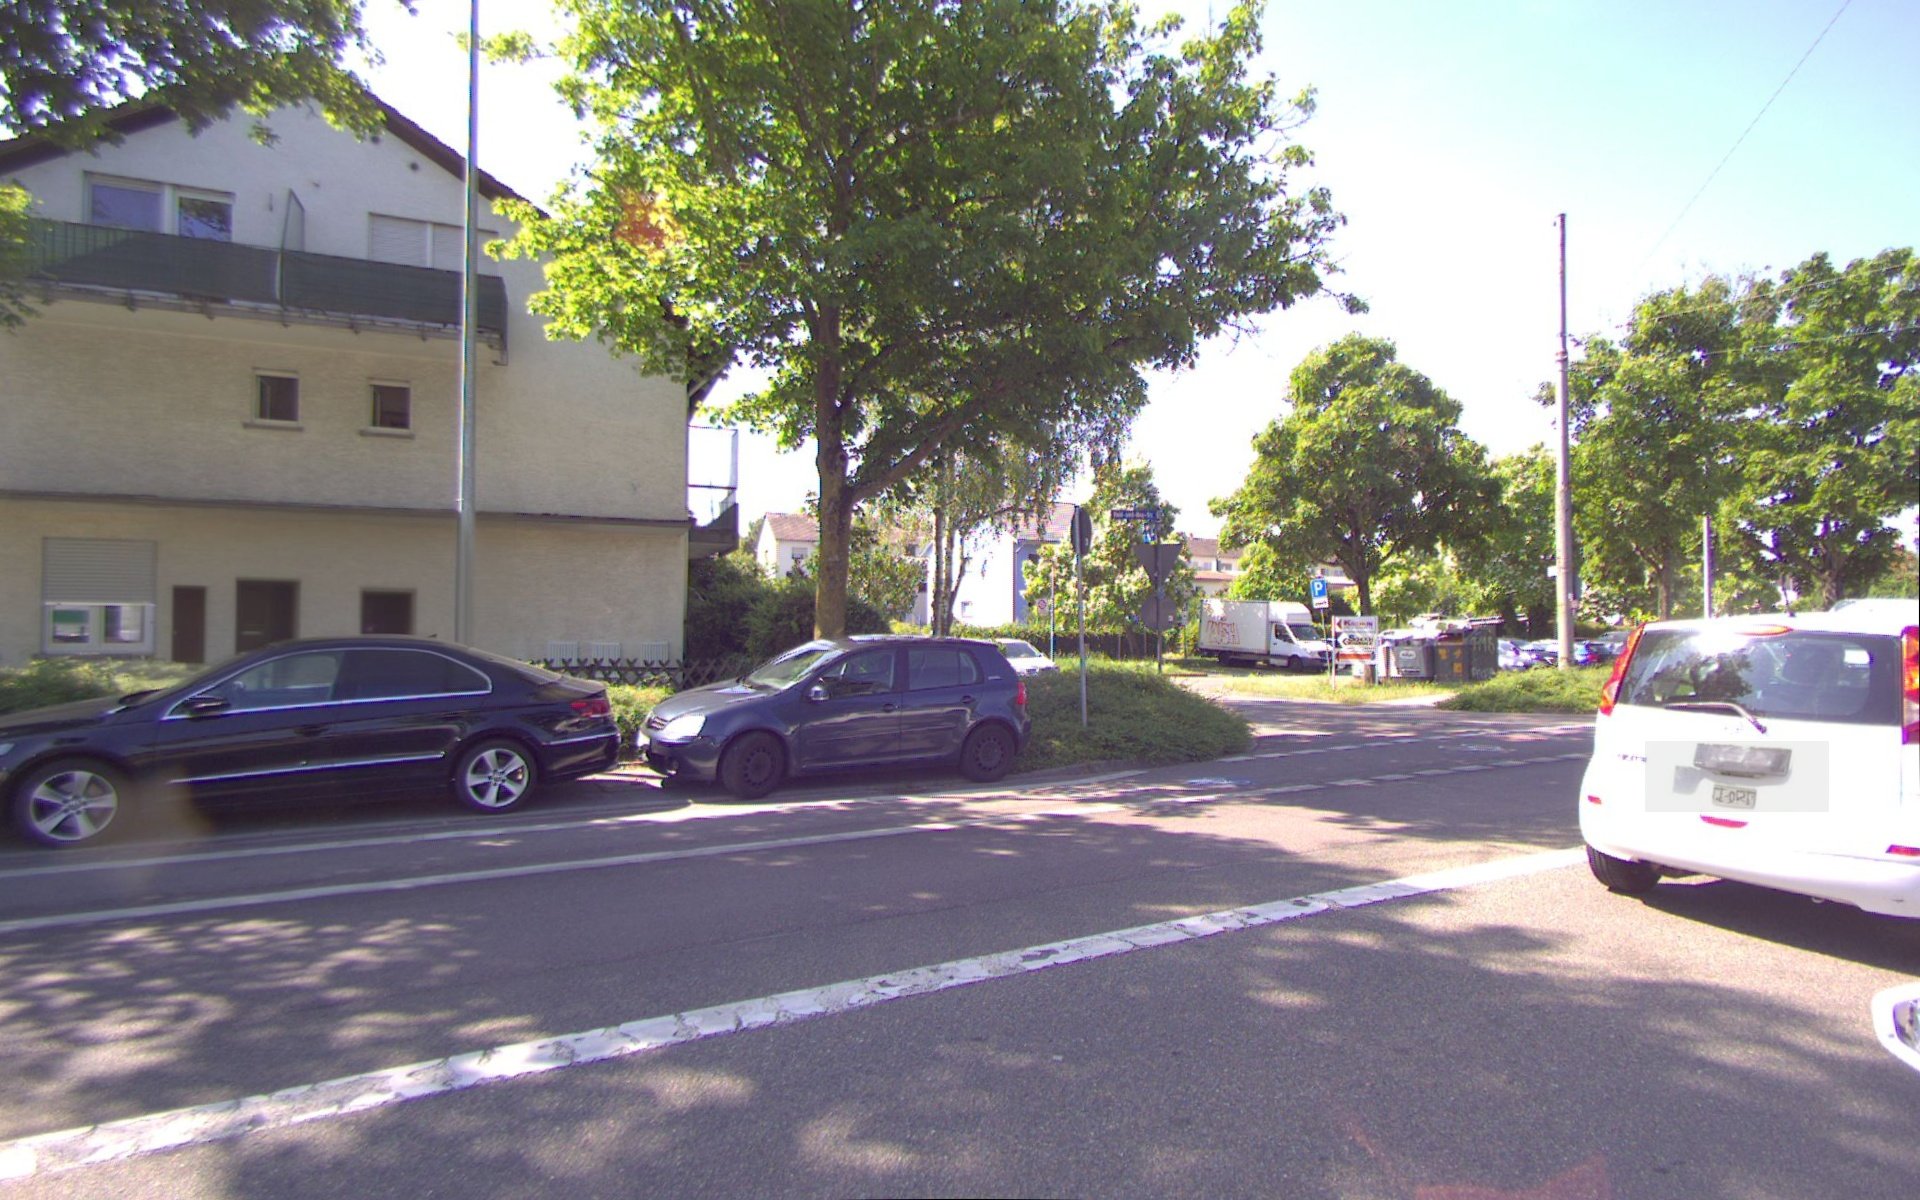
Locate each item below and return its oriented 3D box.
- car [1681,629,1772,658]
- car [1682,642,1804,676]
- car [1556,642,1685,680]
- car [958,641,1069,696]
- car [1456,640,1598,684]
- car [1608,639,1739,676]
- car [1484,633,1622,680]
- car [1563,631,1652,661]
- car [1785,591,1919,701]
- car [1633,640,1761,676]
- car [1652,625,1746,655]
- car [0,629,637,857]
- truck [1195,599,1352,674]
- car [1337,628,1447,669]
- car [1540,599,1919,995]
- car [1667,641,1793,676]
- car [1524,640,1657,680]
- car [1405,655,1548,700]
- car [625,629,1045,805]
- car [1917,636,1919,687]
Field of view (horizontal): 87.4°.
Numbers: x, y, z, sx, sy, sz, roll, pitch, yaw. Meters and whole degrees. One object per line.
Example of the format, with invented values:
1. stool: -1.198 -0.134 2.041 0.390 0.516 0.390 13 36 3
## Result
1. car: 54.467 3.042 71.484 2.043 1.811 4.762 2 0 -33
2. car: 34.946 2.633 44.917 1.712 1.434 3.964 2 -4 -33
3. car: 26.321 2.422 40.136 1.712 1.434 3.964 2 -4 -33
4. car: 1.427 1.912 28.420 1.704 1.434 3.983 1 -3 -20
5. car: 19.715 2.153 35.086 1.712 1.434 3.964 2 -4 -33
6. car: 28.853 2.336 40.740 1.712 1.434 3.964 2 -4 -33
7. car: 21.435 2.052 36.470 1.712 1.631 3.964 2 -4 -33
8. car: 44.559 3.113 69.243 2.043 1.811 4.762 2 0 -33
9. car: 23.810 1.138 25.735 5.745 2.550 2.114 1 0 -29
10. car: 30.765 2.429 42.039 1.712 1.434 3.964 2 -4 -33
11. car: 50.502 2.744 68.742 2.043 1.811 4.762 2 0 -33
12. car: -5.246 1.007 8.374 4.568 1.434 1.854 1 0 -31
13. truck: 14.437 1.604 46.821 2.646 3.151 6.967 1 0 -30
14. car: 21.701 2.411 50.657 2.043 1.811 4.762 2 0 -33
15. car: 5.435 0.832 5.713 4.491 1.568 1.655 1 -1 -29
16. car: 33.188 2.545 43.408 1.712 1.434 3.964 2 -4 -33
17. car: 24.193 2.298 38.675 1.712 1.434 3.964 2 -4 -33
18. car: 17.342 2.564 33.864 1.712 1.434 3.964 2 -4 -33
19. car: -1.267 1.086 10.461 3.988 1.462 1.718 1 0 -28
20. car: 29.390 1.805 28.704 4.230 1.434 1.854 1 0 -31
